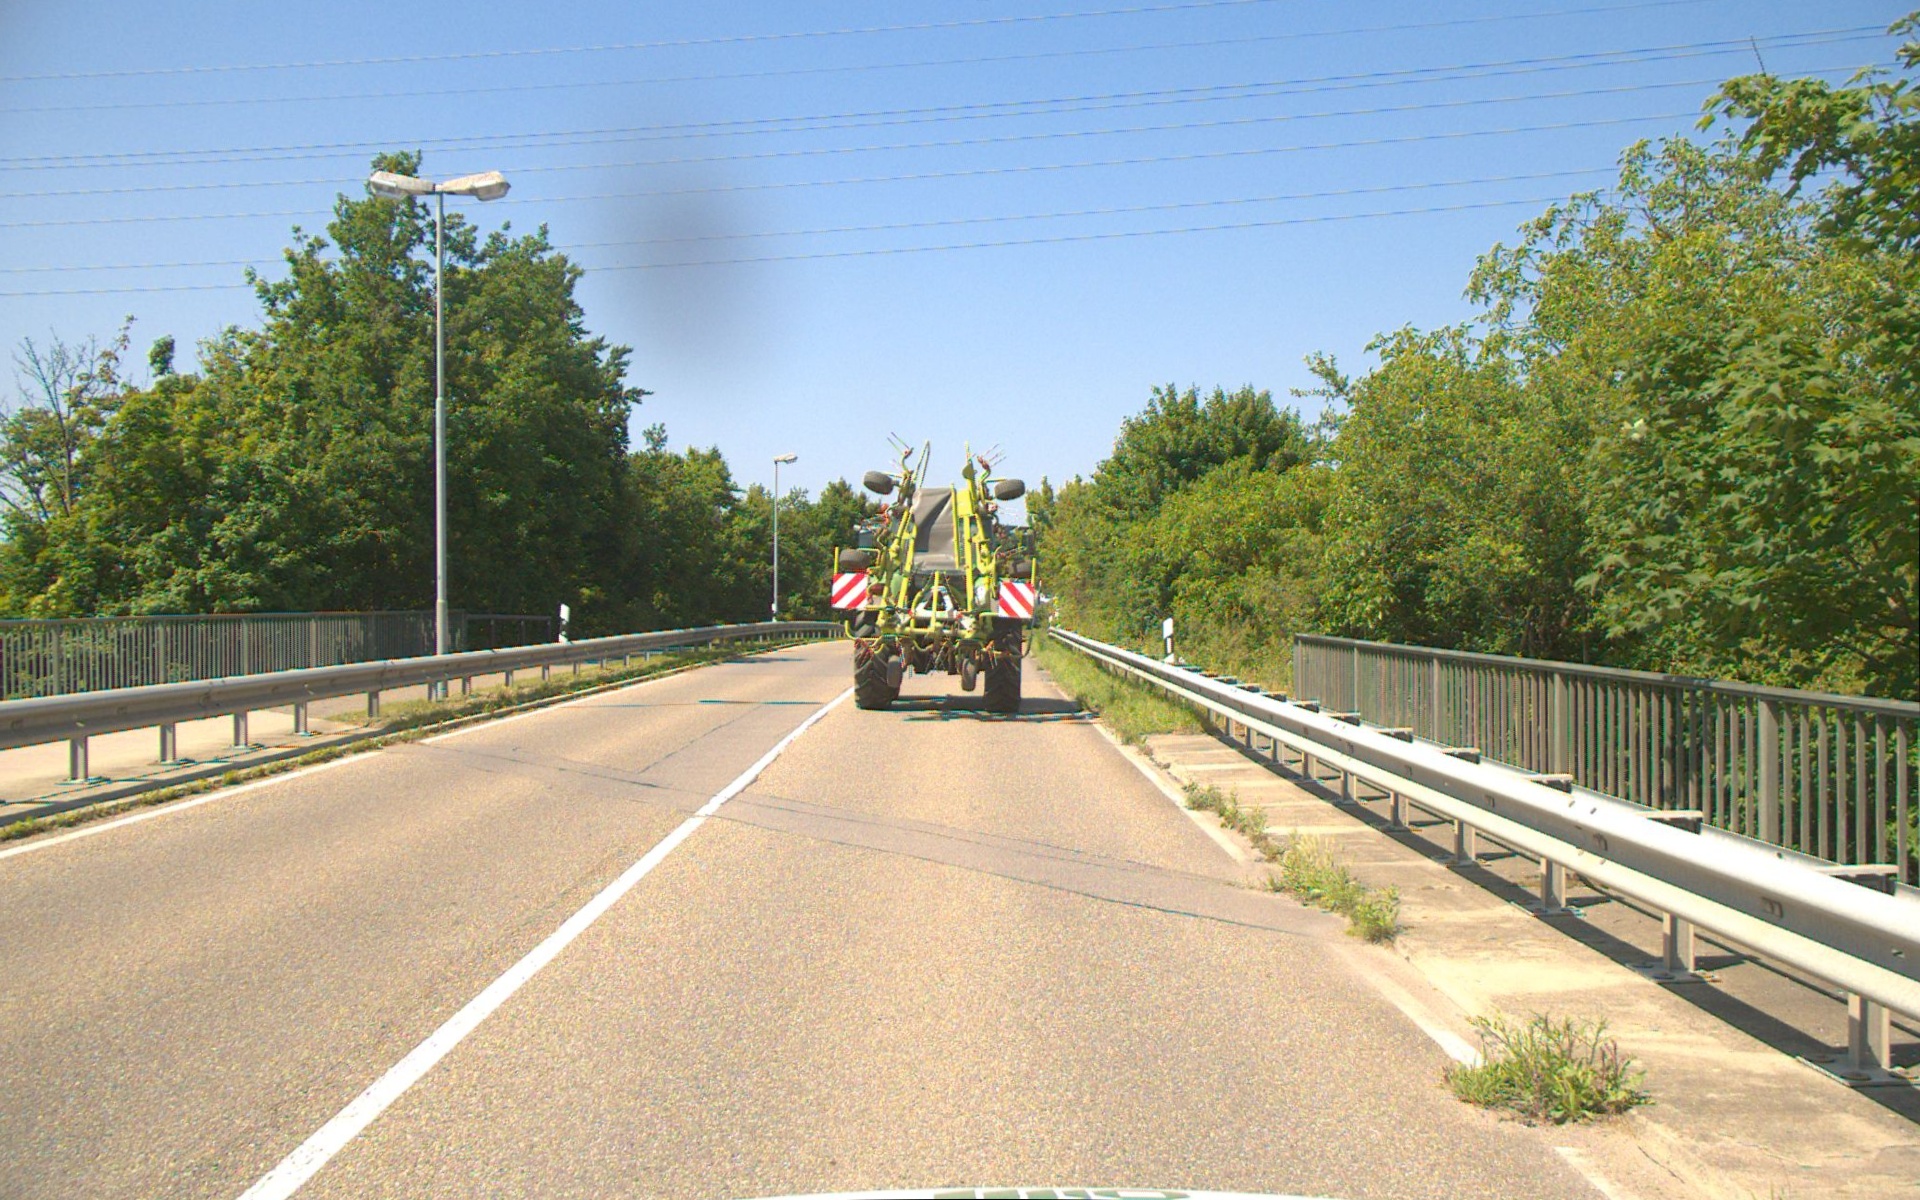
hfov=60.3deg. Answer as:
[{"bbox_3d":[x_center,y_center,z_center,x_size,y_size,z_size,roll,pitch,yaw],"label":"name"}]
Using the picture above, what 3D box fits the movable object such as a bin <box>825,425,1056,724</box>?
[{"bbox_3d":[-0.207,-0.331,22.423,2.698,3.504,5.670,1,0,0],"label":"movable object such as a bin"}]
